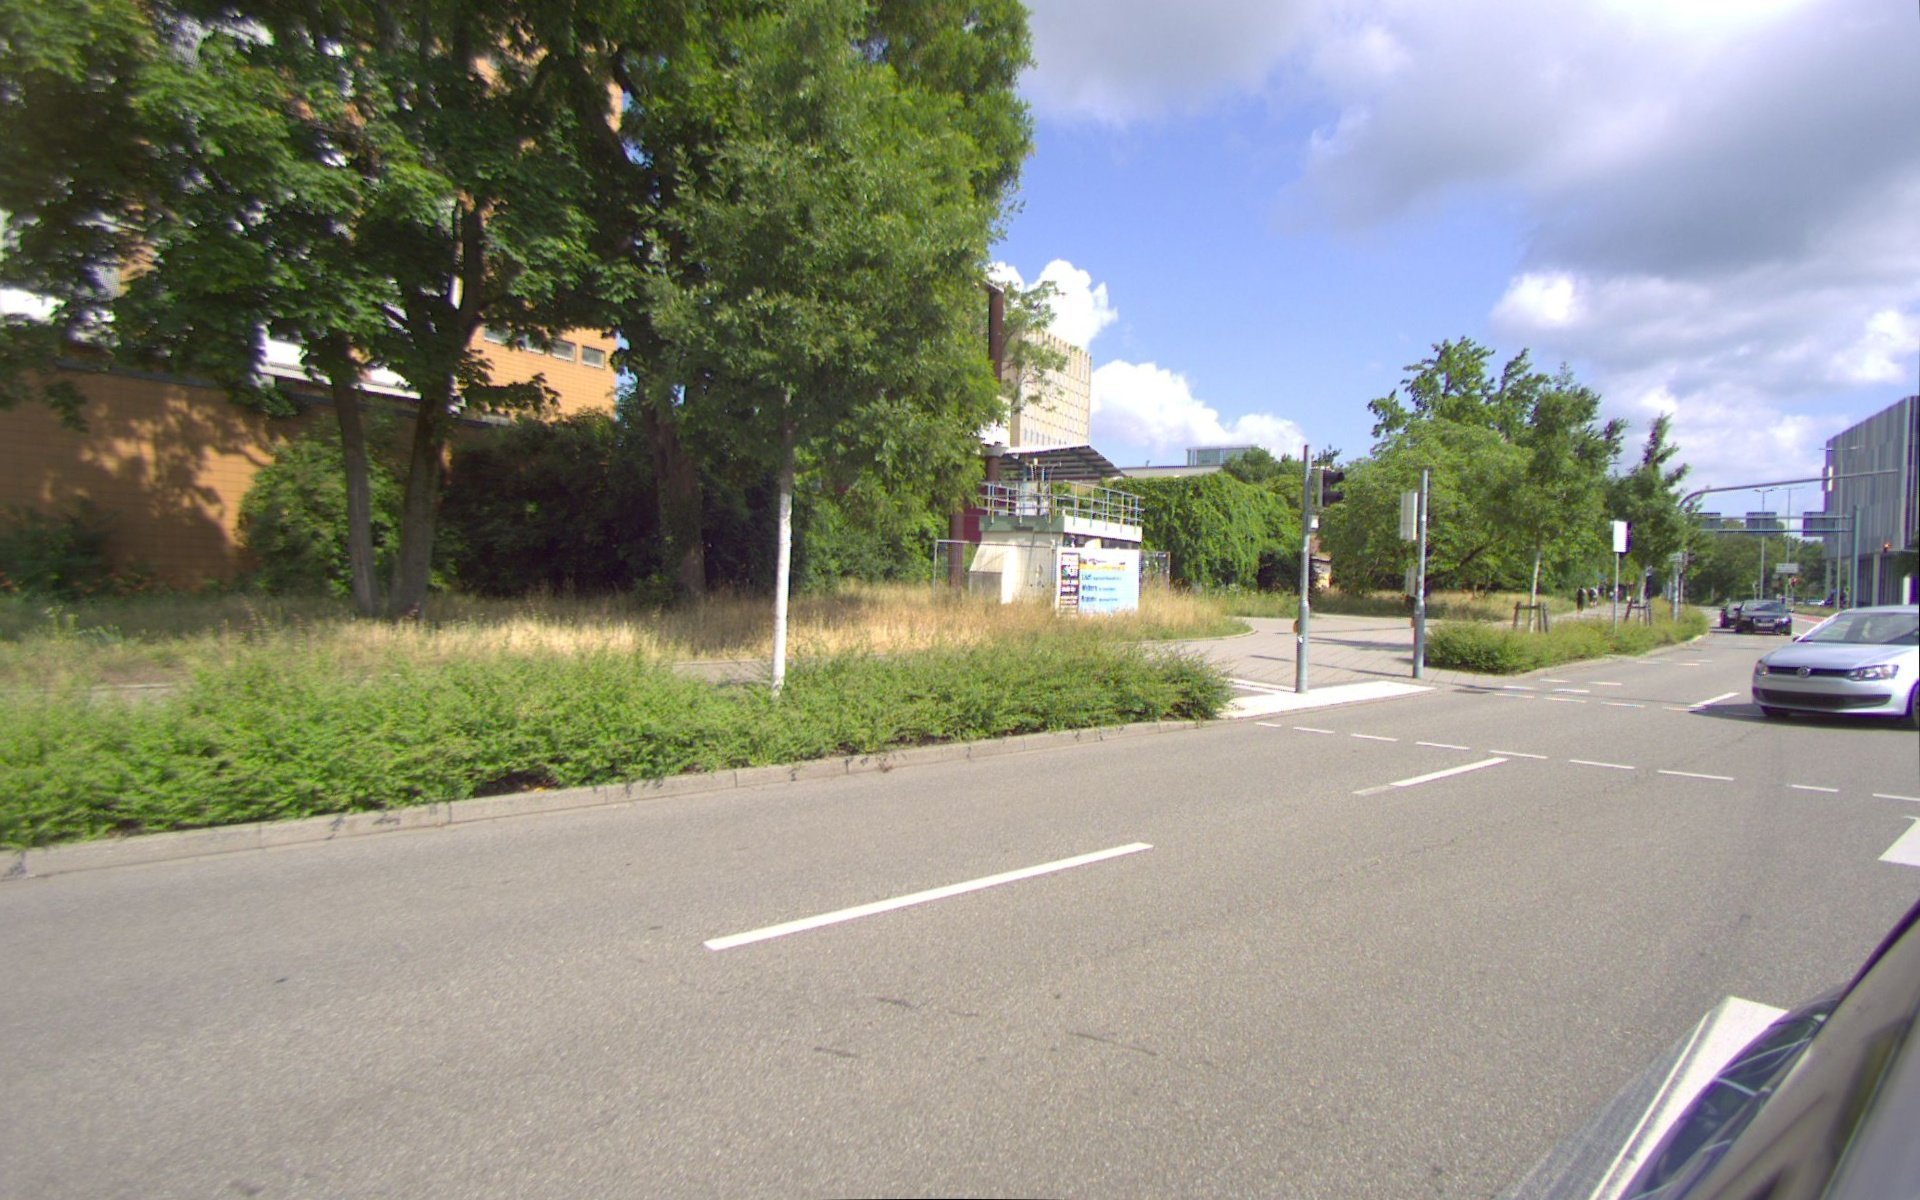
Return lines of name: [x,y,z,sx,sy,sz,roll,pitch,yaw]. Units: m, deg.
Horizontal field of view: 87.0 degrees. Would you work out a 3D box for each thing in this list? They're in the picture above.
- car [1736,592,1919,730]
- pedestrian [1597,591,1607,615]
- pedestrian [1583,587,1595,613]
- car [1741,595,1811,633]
car: [11.779,0.682,12.479,3.921,1.460,1.660,1,1,-21]
pedestrian: [49.681,0.233,78.330,0.537,1.791,0.519,2,-1,28]
pedestrian: [39.385,0.000,63.383,0.537,1.628,0.519,2,-1,28]
car: [33.220,0.525,41.301,1.989,1.394,4.106,3,2,36]
